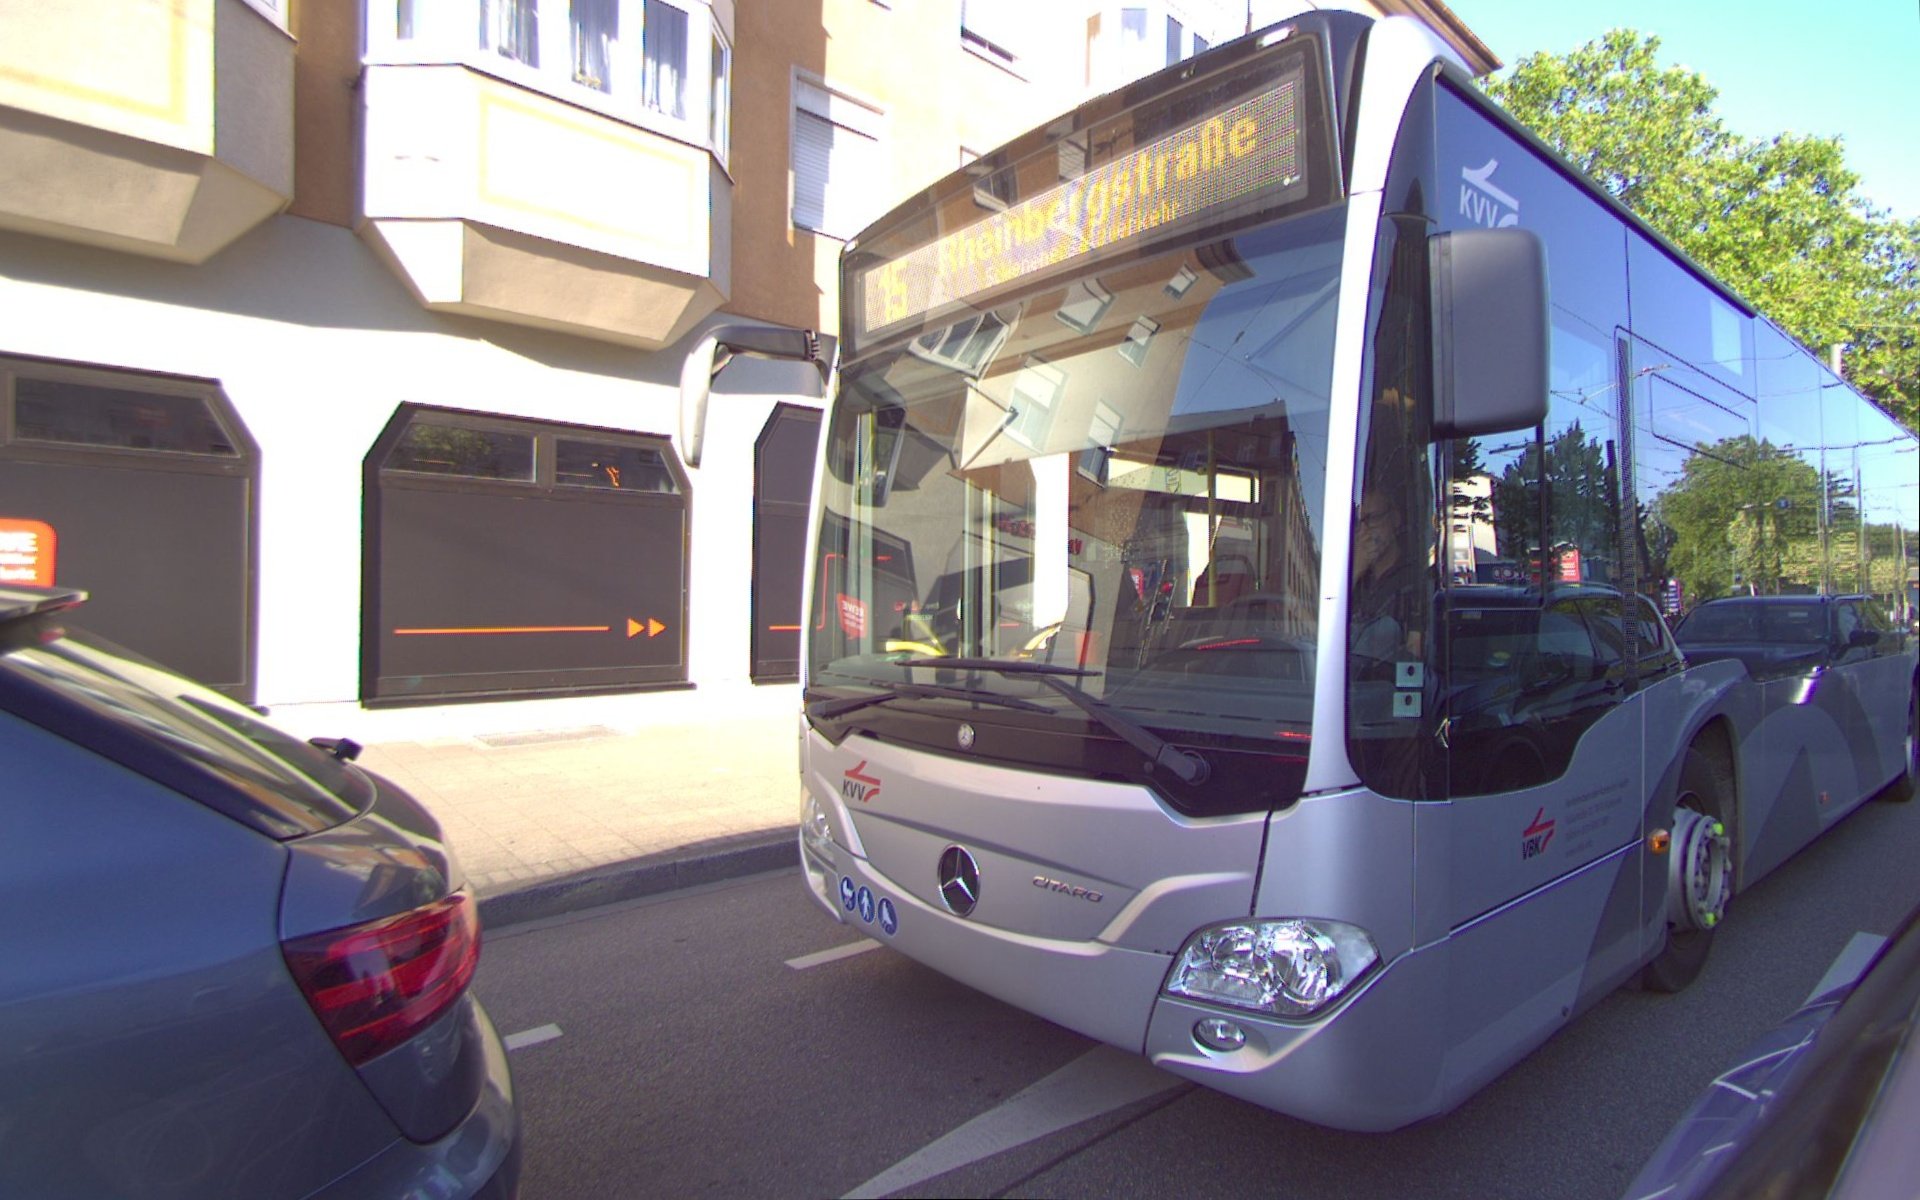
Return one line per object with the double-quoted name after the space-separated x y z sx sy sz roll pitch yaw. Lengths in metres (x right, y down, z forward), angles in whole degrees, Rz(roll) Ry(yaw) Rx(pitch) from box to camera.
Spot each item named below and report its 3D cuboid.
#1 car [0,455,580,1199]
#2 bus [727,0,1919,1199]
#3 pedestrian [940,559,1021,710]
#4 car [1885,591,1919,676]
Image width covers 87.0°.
-2.617 0.651 0.627 4.151 1.572 1.700 0 -1 -41 "car"
6.528 -0.206 8.728 17.432 3.189 2.771 0 1 -41 "bus"
0.227 0.360 11.232 0.656 1.603 0.580 0 1 -40 "pedestrian"
20.175 0.641 20.546 3.759 1.628 1.747 -1 0 -43 "car"
